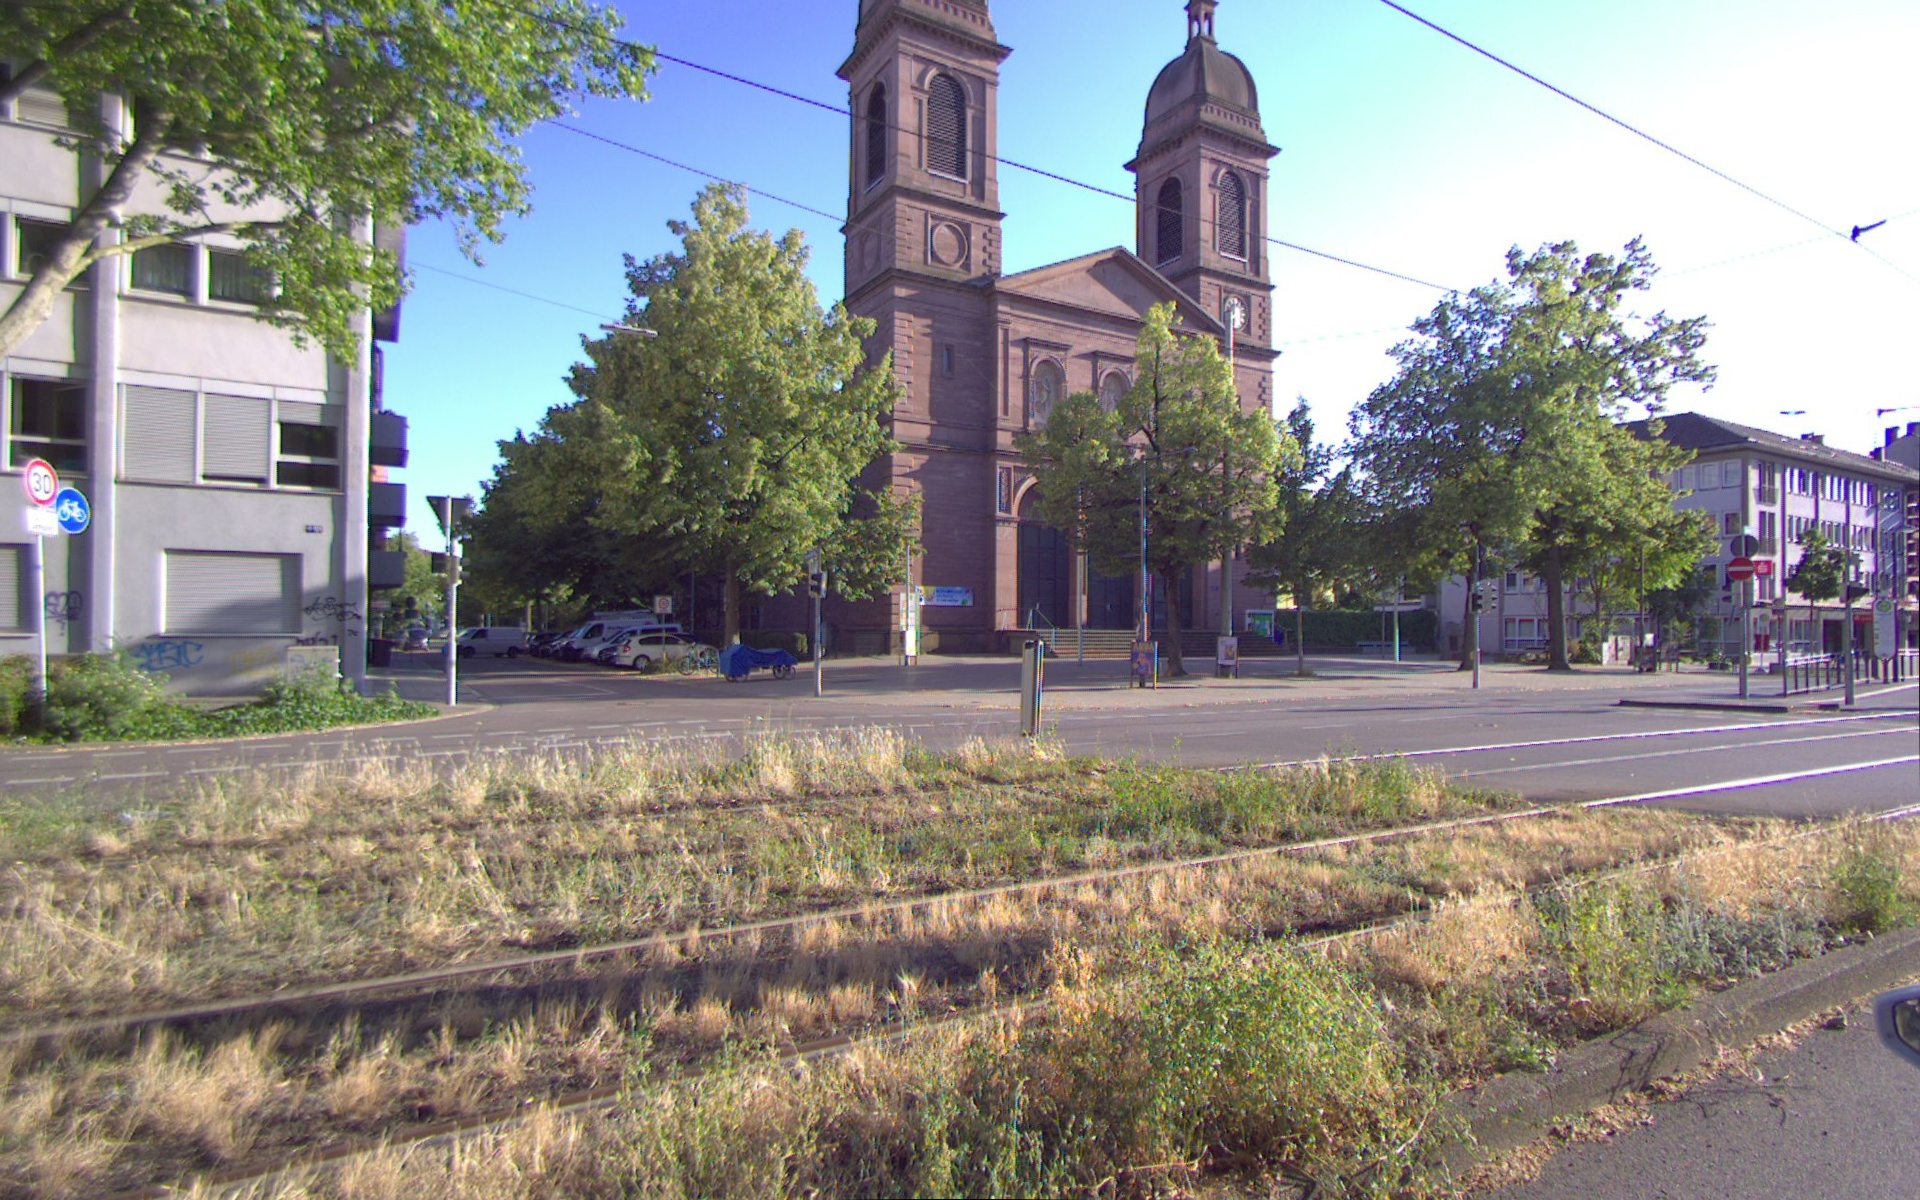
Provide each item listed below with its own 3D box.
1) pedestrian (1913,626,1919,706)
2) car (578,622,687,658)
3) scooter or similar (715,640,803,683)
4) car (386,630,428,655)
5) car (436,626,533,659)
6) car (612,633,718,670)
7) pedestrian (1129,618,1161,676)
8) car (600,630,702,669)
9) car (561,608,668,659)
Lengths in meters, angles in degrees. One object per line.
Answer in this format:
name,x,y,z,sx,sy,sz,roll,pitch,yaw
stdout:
pedestrian,21.862,1.464,22.216,0.822,1.783,0.915,2,-2,-29
car,-15.719,1.909,48.257,4.655,1.684,1.984,1,-2,-30
scooter or similar,-6.131,1.855,30.698,2.419,1.141,1.088,-1,0,-30
car,-47.048,3.565,85.413,1.985,2.040,5.360,2,-2,-41
car,-30.617,2.701,64.851,1.966,2.040,5.412,-1,-2,32
car,-12.244,2.091,41.718,3.953,1.416,1.802,0,-1,-30
pedestrian,5.824,1.468,31.585,0.684,1.789,0.733,1,-1,-31
car,-13.518,2.138,43.942,3.953,1.639,1.876,1,-2,-30
car,-18.232,1.775,53.076,5.054,2.551,1.984,1,-2,-30
